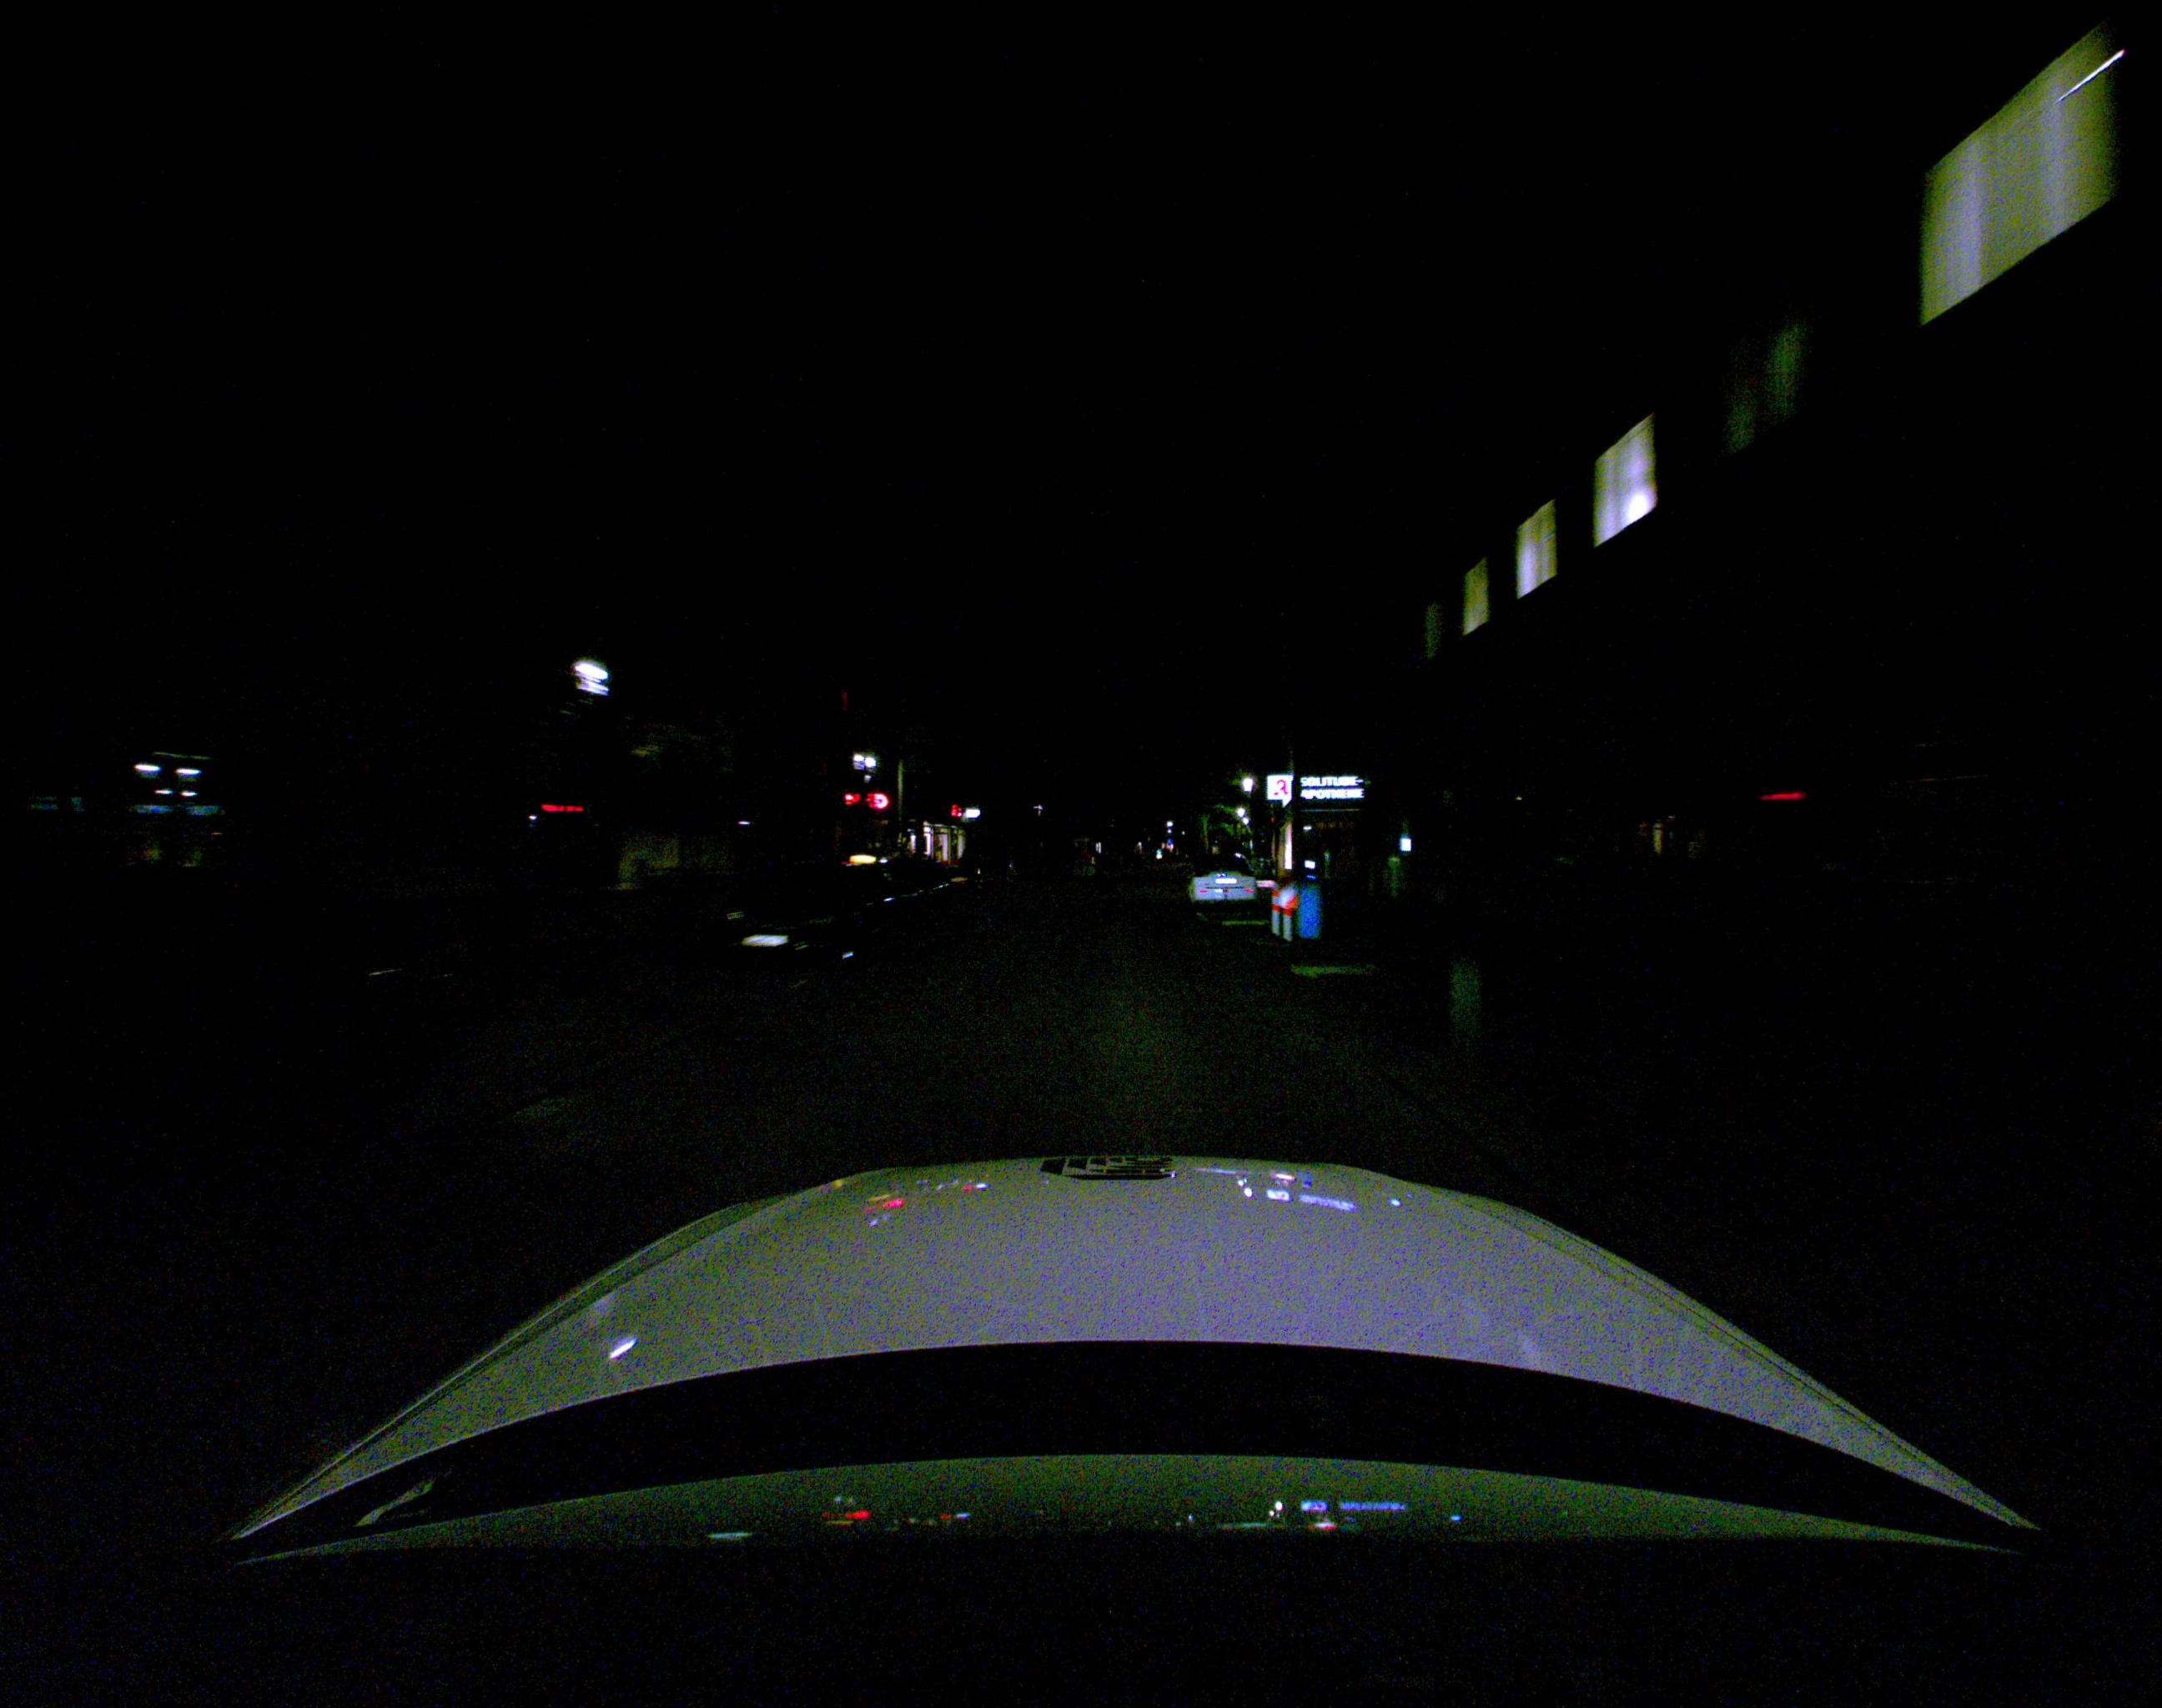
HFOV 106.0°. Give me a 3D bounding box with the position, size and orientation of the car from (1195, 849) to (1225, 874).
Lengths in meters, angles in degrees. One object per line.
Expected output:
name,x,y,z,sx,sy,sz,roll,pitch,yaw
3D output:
car,8.155,0.451,51.799,1.725,1.440,4.506,-1,0,7

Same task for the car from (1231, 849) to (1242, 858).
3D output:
car,25.368,-0.110,133.086,1.664,1.459,3.687,-1,1,11

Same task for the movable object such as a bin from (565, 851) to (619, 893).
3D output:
movable object such as a bin,-17.217,0.617,28.698,1.126,1.457,1.229,0,-1,4

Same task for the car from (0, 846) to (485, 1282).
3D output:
car,-4.782,0.754,2.924,1.763,1.574,4.487,0,0,4

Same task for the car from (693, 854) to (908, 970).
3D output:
car,-4.318,0.788,13.471,1.899,1.542,4.781,0,0,0

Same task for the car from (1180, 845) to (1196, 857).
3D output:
car,16.973,-0.504,129.243,2.004,1.691,5.021,1,1,13

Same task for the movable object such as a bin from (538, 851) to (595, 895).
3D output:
movable object such as a bin,-17.286,0.621,27.394,1.032,1.444,1.287,0,-1,4

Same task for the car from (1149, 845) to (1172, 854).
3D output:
car,15.640,-0.853,160.538,4.135,1.438,1.849,-4,0,16

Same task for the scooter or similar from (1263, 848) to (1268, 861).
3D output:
scooter or similar,18.074,0.025,79.825,0.370,1.277,1.310,-1,-1,14

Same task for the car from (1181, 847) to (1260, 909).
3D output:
car,3.748,0.620,22.506,1.734,1.487,4.642,-1,-1,5

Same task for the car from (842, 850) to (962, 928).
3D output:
car,-4.205,0.740,19.944,1.752,1.637,4.816,-1,0,1
